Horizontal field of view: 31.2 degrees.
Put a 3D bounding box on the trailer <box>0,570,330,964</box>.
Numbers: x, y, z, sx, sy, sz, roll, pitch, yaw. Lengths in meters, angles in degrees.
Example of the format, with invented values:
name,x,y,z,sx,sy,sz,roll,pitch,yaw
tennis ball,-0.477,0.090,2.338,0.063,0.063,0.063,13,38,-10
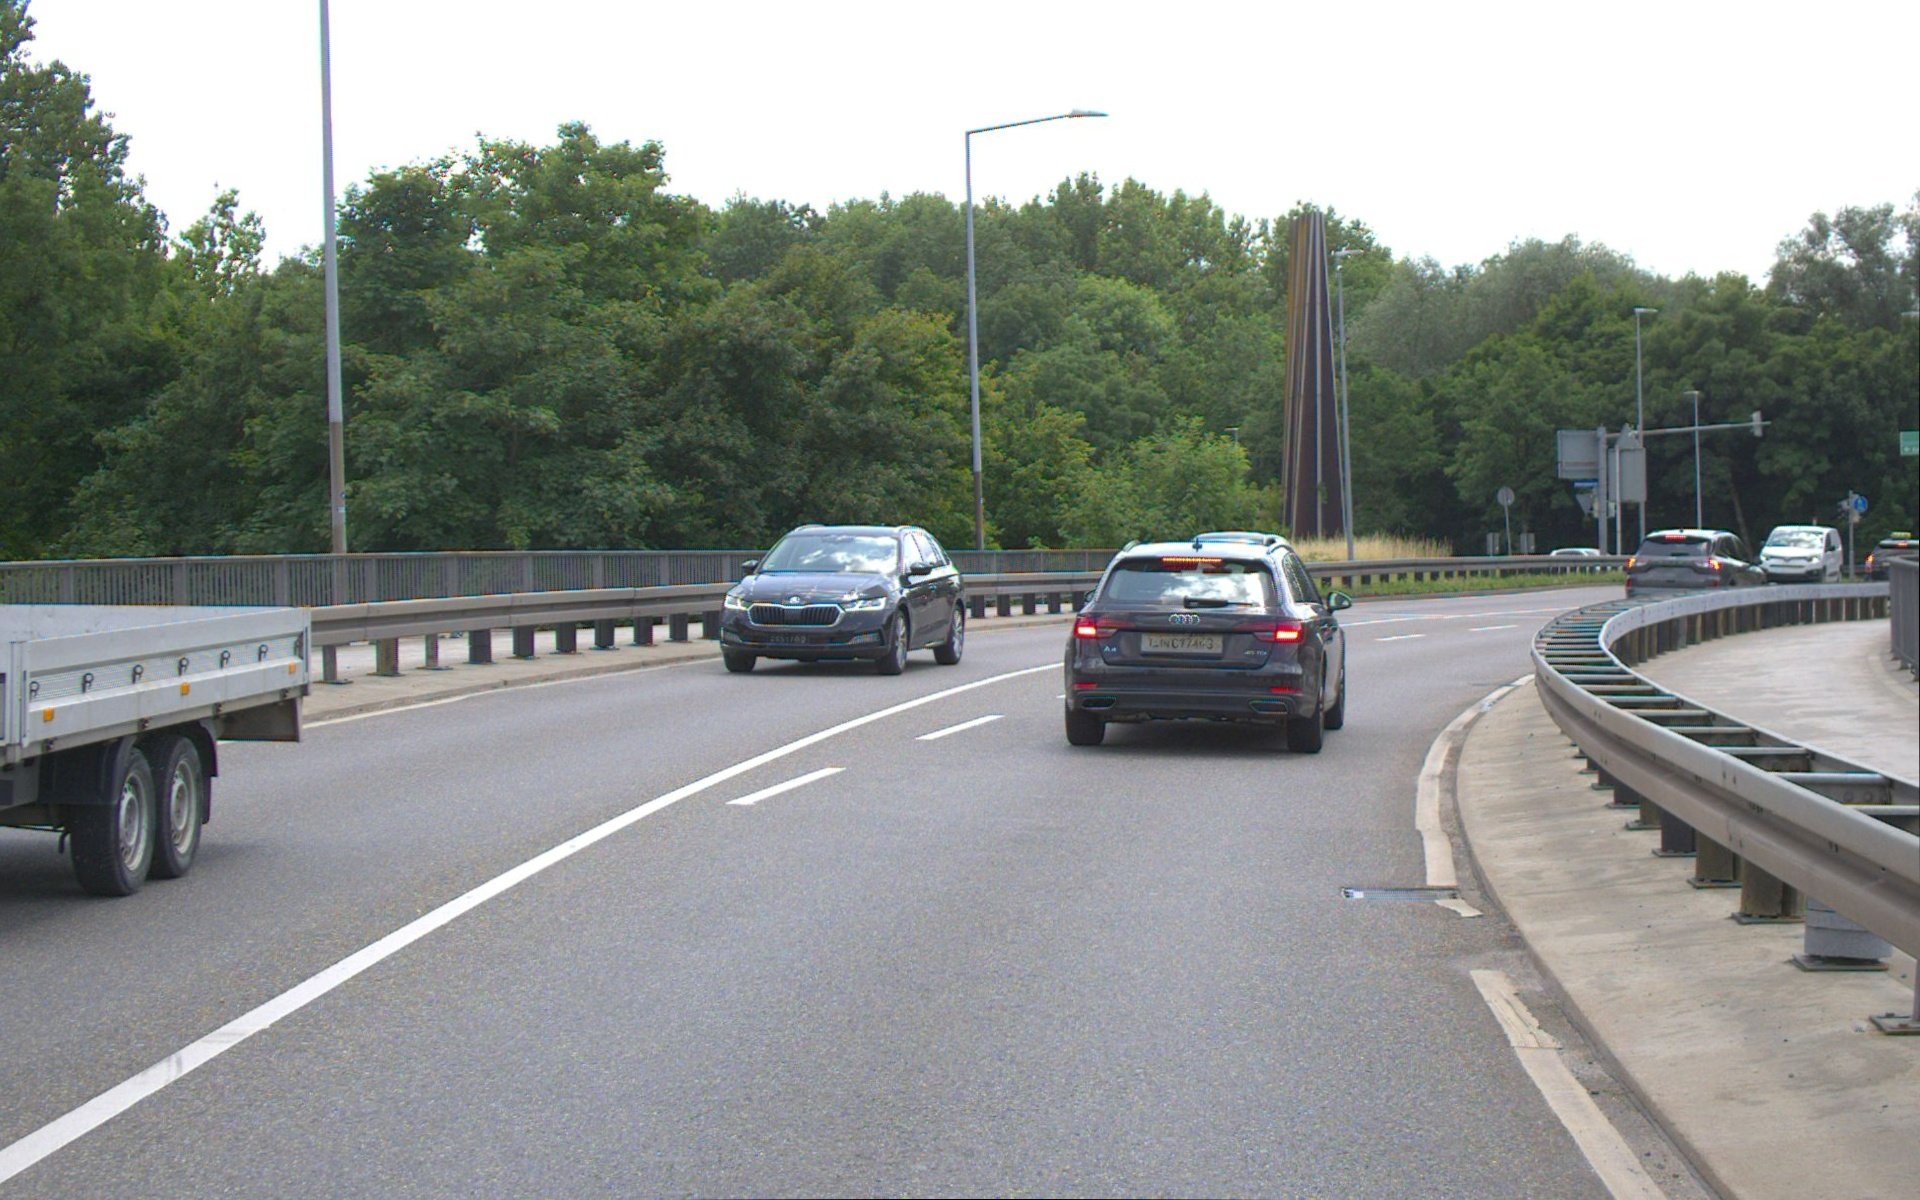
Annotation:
name,x,y,z,sx,sy,sz,roll,pitch,yaw
trailer,-4.133,0.543,13.404,2.045,1.205,5.983,1,1,2

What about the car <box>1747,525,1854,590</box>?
name,x,y,z,sx,sy,sz,roll,pitch,yaw
car,23.693,-1.191,96.808,1.816,1.748,4.298,2,2,29

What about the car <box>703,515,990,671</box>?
name,x,y,z,sx,sy,sz,roll,pitch,yaw
car,-1.086,-0.130,35.452,1.818,1.446,4.735,1,2,12

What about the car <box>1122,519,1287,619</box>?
name,x,y,z,sx,sy,sz,roll,pitch,yaw
car,3.866,-0.508,53.870,1.816,1.447,3.923,2,2,15

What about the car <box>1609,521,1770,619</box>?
name,x,y,z,sx,sy,sz,roll,pitch,yaw
car,13.079,-0.549,61.471,1.824,1.646,3.850,2,2,27

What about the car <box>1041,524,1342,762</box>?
name,x,y,z,sx,sy,sz,roll,pitch,yaw
car,1.769,0.237,24.971,1.828,1.486,4.206,1,2,8

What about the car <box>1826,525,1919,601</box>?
name,x,y,z,sx,sy,sz,roll,pitch,yaw
car,21.014,-0.841,77.601,1.737,1.646,3.849,2,2,32
